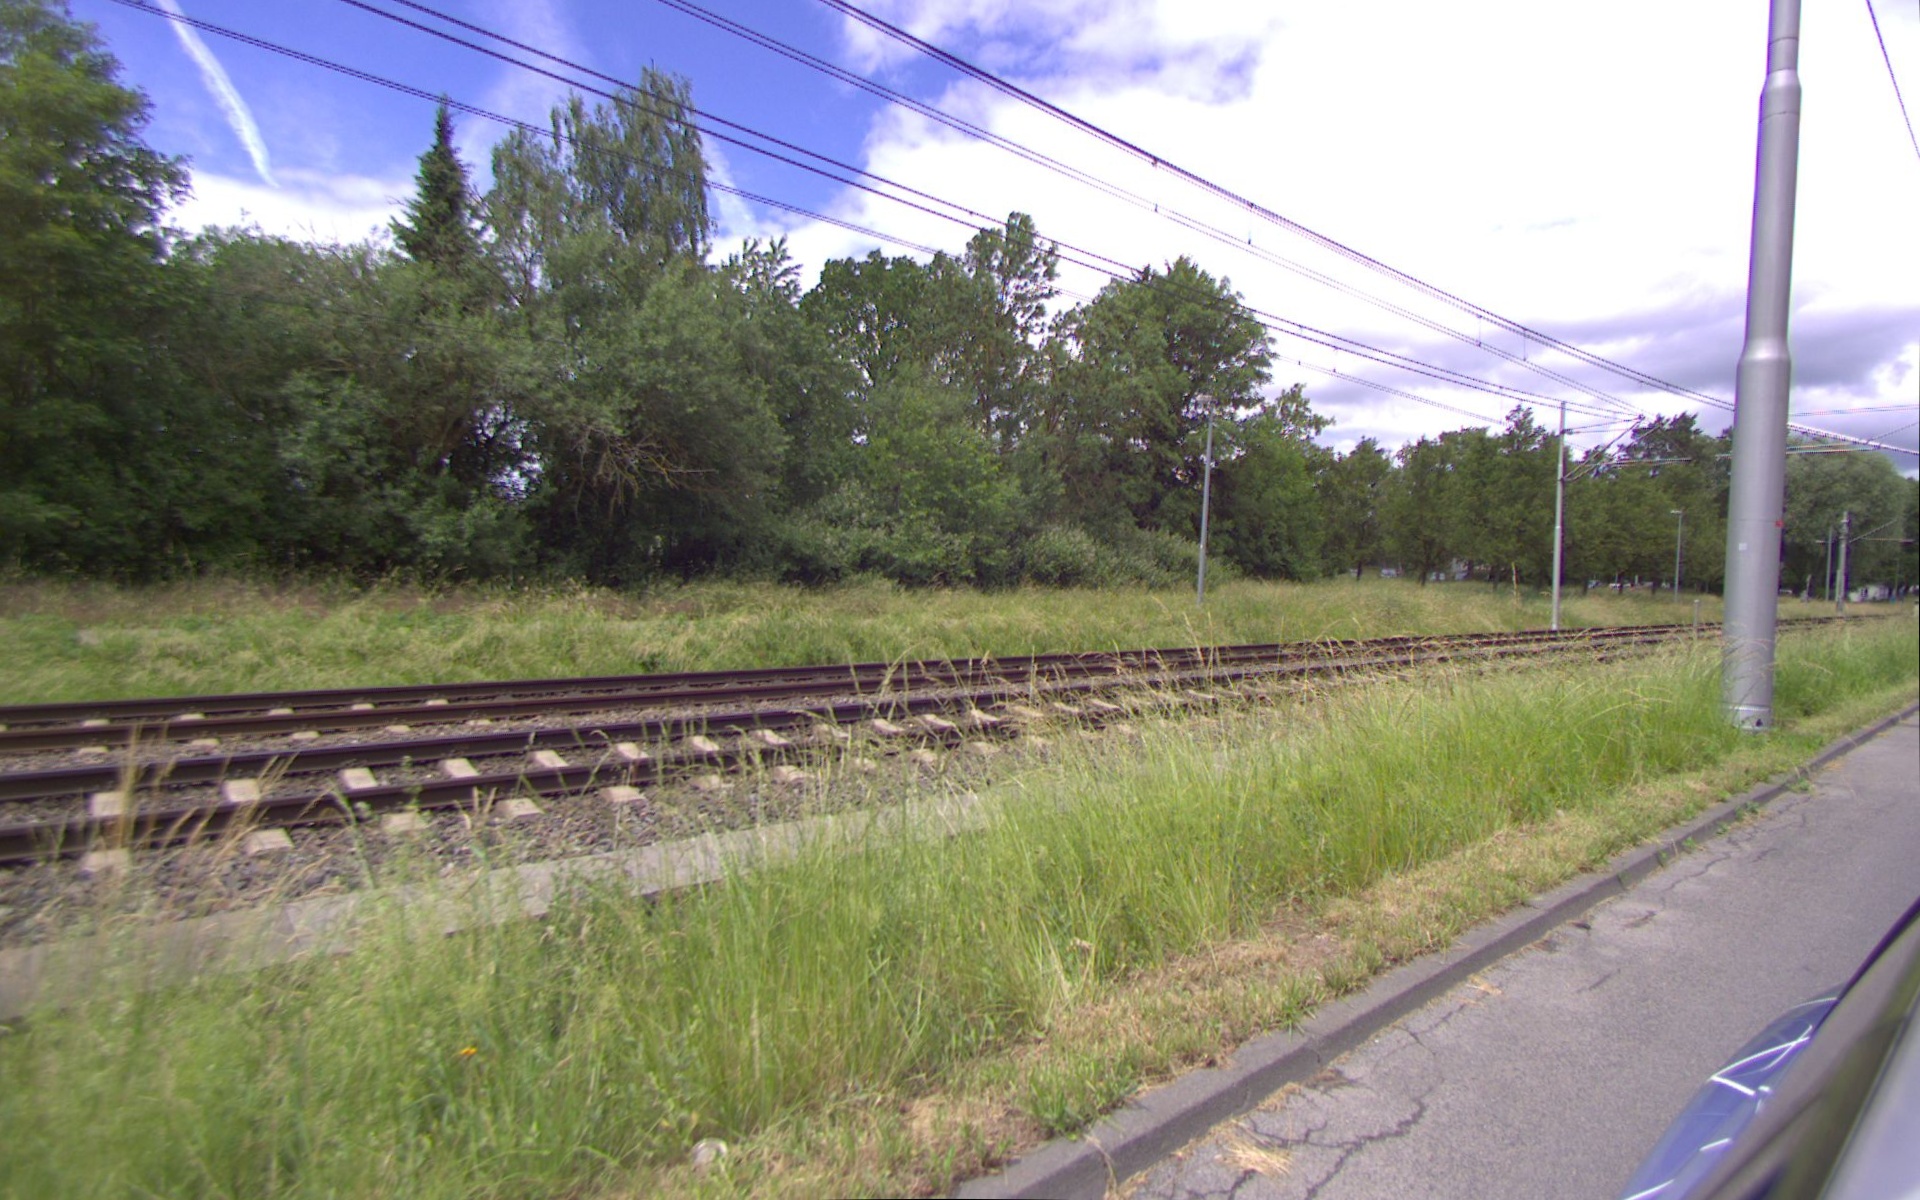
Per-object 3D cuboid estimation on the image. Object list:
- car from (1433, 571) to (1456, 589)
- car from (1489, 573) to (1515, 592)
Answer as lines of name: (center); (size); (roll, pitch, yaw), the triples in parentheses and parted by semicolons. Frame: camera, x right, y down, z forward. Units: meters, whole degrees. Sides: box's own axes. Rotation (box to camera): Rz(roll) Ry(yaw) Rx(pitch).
car: (50.525, -2.084, 105.645); (1.979, 1.834, 3.968); (3, 2, 24)
car: (54.678, -1.737, 102.042); (1.740, 1.825, 3.947); (3, 2, 37)
